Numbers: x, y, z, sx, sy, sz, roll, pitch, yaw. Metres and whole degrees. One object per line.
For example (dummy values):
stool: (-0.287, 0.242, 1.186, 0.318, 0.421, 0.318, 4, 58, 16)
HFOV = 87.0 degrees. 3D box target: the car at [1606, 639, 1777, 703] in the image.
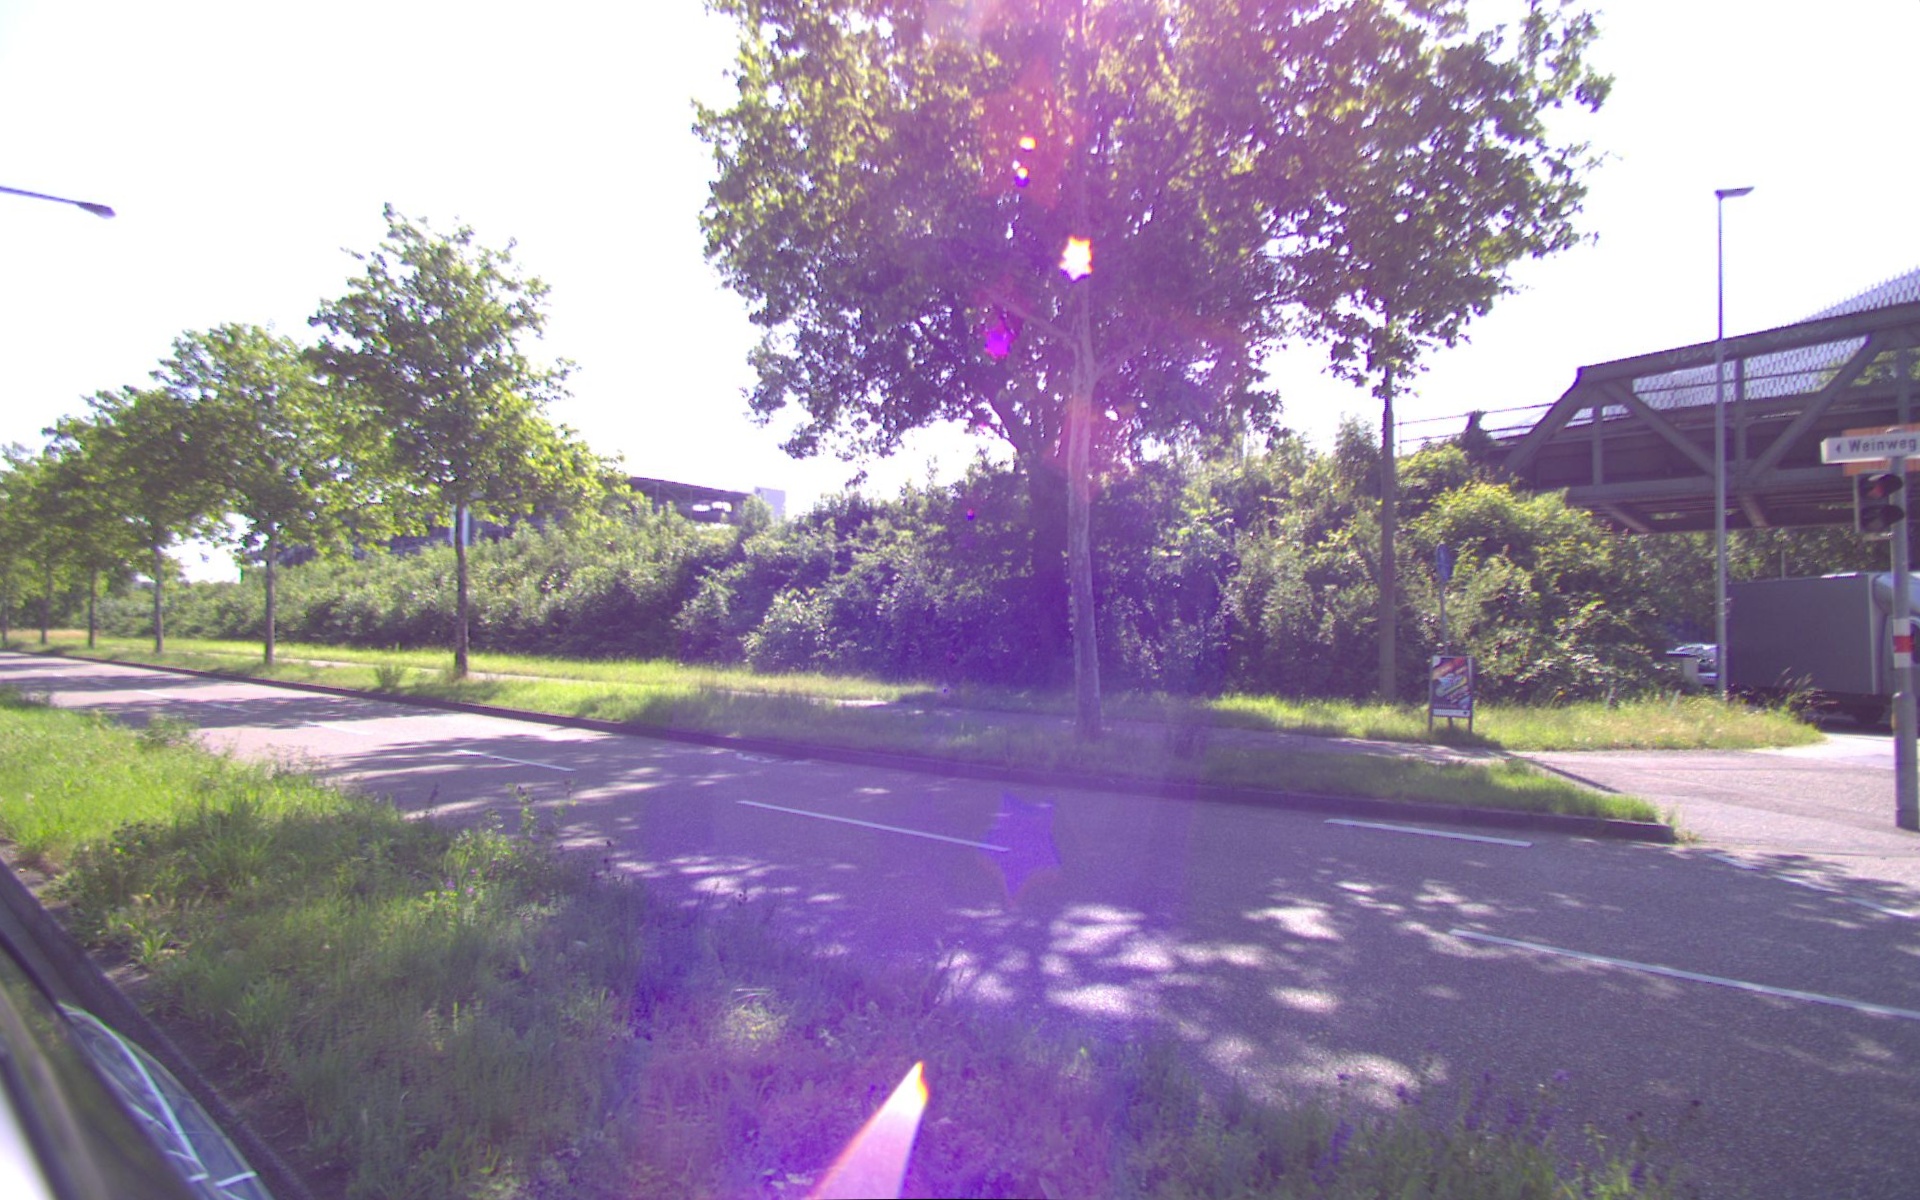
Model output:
car: (18.932, 1.788, 26.453, 1.869, 1.400, 4.227, -1, 0, 9)

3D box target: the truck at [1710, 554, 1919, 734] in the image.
truck: (18.002, 0.879, 19.579, 2.191, 3.130, 6.853, -1, -4, 5)
